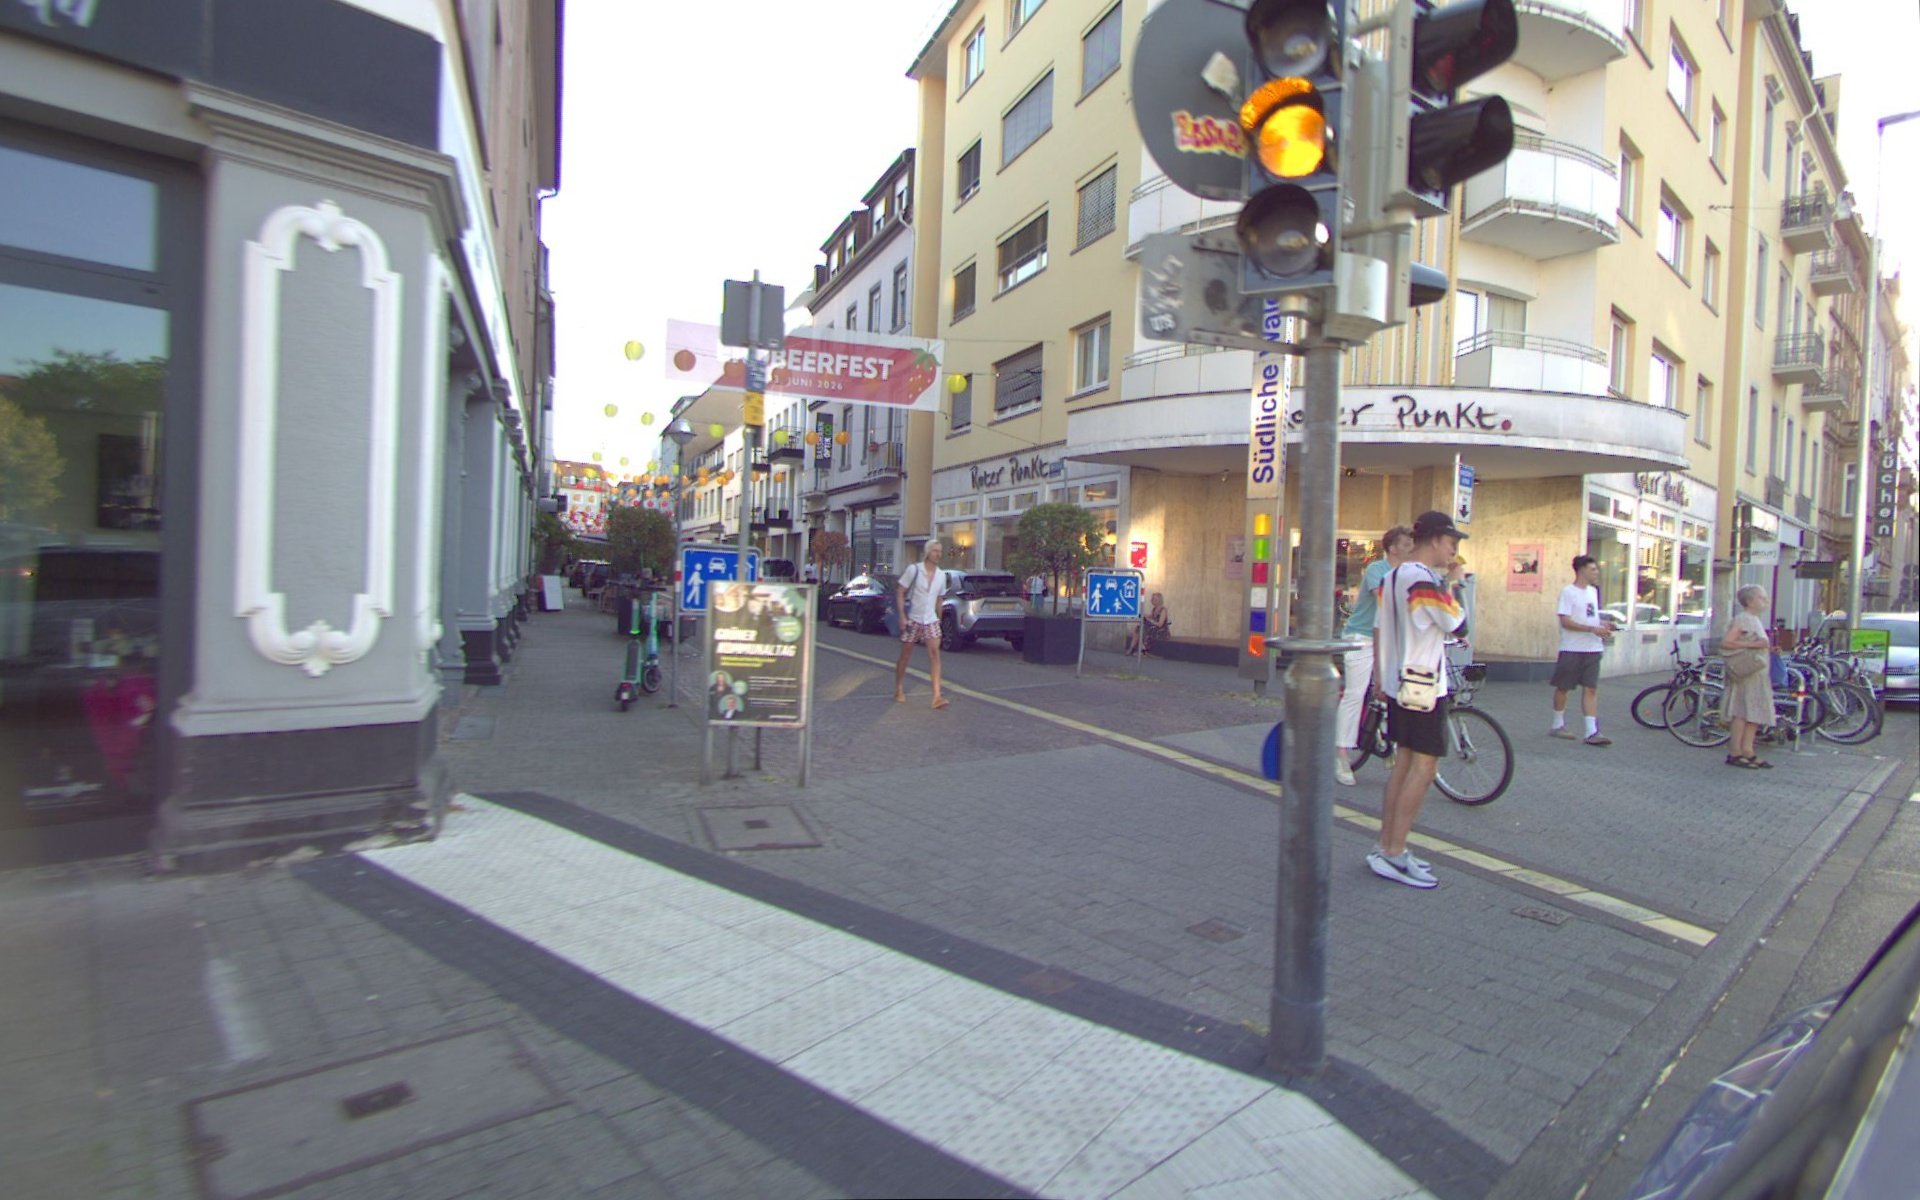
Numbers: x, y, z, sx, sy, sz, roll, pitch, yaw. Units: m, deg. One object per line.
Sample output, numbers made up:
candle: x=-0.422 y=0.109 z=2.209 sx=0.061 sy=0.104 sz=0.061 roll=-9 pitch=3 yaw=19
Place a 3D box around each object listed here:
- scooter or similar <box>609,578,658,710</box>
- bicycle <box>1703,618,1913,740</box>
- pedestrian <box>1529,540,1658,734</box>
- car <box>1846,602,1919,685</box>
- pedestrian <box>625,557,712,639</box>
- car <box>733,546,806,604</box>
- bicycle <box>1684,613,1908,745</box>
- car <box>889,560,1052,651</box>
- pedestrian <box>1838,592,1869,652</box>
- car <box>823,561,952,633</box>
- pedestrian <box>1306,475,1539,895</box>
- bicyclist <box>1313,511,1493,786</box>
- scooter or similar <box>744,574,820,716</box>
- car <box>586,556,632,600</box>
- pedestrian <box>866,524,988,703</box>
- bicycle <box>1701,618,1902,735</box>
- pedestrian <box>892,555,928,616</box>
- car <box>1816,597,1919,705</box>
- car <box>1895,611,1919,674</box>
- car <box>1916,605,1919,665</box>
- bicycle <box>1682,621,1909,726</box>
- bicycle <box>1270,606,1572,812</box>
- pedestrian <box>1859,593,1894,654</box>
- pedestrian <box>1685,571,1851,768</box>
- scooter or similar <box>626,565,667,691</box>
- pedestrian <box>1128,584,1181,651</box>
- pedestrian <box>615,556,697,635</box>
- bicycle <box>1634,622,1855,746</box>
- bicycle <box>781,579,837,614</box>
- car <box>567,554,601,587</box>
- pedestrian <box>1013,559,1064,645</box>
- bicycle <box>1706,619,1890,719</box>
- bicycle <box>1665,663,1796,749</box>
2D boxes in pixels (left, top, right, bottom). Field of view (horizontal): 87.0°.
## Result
scooter or similar: x=-3.100 y=0.381 z=9.661 sx=0.356 sy=1.157 sz=1.309 roll=2 pitch=1 yaw=-15
bicycle: x=9.848 y=0.883 z=11.850 sx=1.778 sy=1.187 sz=0.614 roll=5 pitch=2 yaw=37
pedestrian: x=6.360 y=0.340 z=10.215 sx=0.815 sy=1.839 sz=0.867 roll=3 pitch=1 yaw=17
car: x=20.799 y=0.927 z=22.011 sx=4.131 sy=1.641 sz=1.820 roll=1 pitch=1 yaw=-43
pedestrian: x=-5.376 y=-0.038 z=18.663 sx=1.208 sy=1.430 sz=0.890 roll=4 pitch=-1 yaw=-42
car: x=-7.474 y=-0.991 z=39.425 sx=1.878 sy=2.109 sz=4.009 roll=2 pitch=1 yaw=-24
bicycle: x=9.315 y=0.831 z=11.347 sx=1.843 sy=1.255 sz=0.629 roll=4 pitch=2 yaw=43
car: x=0.090 y=0.044 z=20.455 sx=1.797 sy=1.612 sz=3.998 roll=2 pitch=1 yaw=-23
pedestrian: x=31.065 y=0.766 z=35.178 sx=0.836 sy=2.039 sz=0.673 roll=1 pitch=1 yaw=-42
car: x=-1.928 y=-0.132 z=25.465 sx=1.905 sy=1.604 sz=4.452 roll=2 pitch=1 yaw=-22
pedestrian: x=2.356 y=0.363 z=5.197 sx=0.931 sy=1.921 sz=0.818 roll=3 pitch=1 yaw=26
bicyclist: x=3.222 y=0.318 z=7.391 sx=0.815 sy=1.849 sz=0.836 roll=1 pitch=1 yaw=-35
scooter or similar: x=-1.696 y=0.389 z=9.533 sx=0.458 sy=1.229 sz=1.261 roll=2 pitch=1 yaw=-20
car: x=-13.759 y=-0.881 z=39.725 sx=1.597 sy=1.605 sz=3.662 roll=2 pitch=1 yaw=-19
pedestrian: x=-0.373 y=0.121 z=10.854 sx=0.809 sy=1.797 sz=1.102 roll=2 pitch=1 yaw=-31
bicycle: x=10.210 y=0.895 z=12.377 sx=1.778 sy=1.187 sz=0.614 roll=5 pitch=2 yaw=37
pedestrian: x=-1.428 y=-0.408 z=28.748 sx=0.740 sy=1.689 sz=0.803 roll=2 pitch=1 yaw=-23
car: x=16.367 y=0.837 z=17.713 sx=4.606 sy=1.636 sz=1.699 roll=1 pitch=1 yaw=-45
car: x=25.031 y=1.078 z=25.526 sx=4.531 sy=1.475 sz=1.736 roll=1 pitch=1 yaw=-42
car: x=29.107 y=1.045 z=29.194 sx=4.354 sy=1.694 sz=1.875 roll=1 pitch=1 yaw=-43
bicycle: x=10.774 y=0.906 z=13.149 sx=2.168 sy=1.088 sz=0.794 roll=5 pitch=2 yaw=41
bicycle: x=3.268 y=0.703 z=7.360 sx=0.778 sy=1.200 sz=1.827 roll=2 pitch=2 yaw=-33
pedestrian: x=31.459 y=0.798 z=34.740 sx=0.836 sy=2.039 sz=0.763 roll=1 pitch=1 yaw=-42
pedestrian: x=7.252 y=0.590 z=9.122 sx=0.765 sy=1.673 sz=0.792 roll=2 pitch=1 yaw=1
scooter or similar: x=-3.355 y=0.268 z=10.838 sx=0.356 sy=1.276 sz=1.207 roll=2 pitch=1 yaw=-17
pedestrian: x=3.607 y=0.319 z=18.807 sx=0.691 sy=1.199 sz=0.638 roll=1 pitch=1 yaw=-25
pedestrian: x=-5.894 y=-0.085 z=19.623 sx=1.208 sy=1.430 sz=0.890 roll=4 pitch=-1 yaw=-42
bicycle: x=8.421 y=0.861 z=10.962 sx=1.778 sy=1.076 sz=0.709 roll=5 pitch=2 yaw=37
bicycle: x=-4.627 y=-0.111 z=31.076 sx=1.678 sy=0.966 sz=0.592 roll=2 pitch=1 yaw=-6
car: x=-19.758 y=-1.550 z=53.170 sx=1.598 sy=1.605 sz=3.662 roll=2 pitch=1 yaw=-20
pedestrian: x=1.581 y=0.033 z=20.463 sx=0.740 sy=1.689 sz=0.735 roll=2 pitch=1 yaw=-21
bicycle: x=11.429 y=0.915 z=13.891 sx=1.840 sy=1.137 sz=0.587 roll=5 pitch=3 yaw=37
bicycle: x=7.953 y=1.065 z=10.469 sx=1.003 sy=0.689 sz=1.036 roll=4 pitch=2 yaw=38
